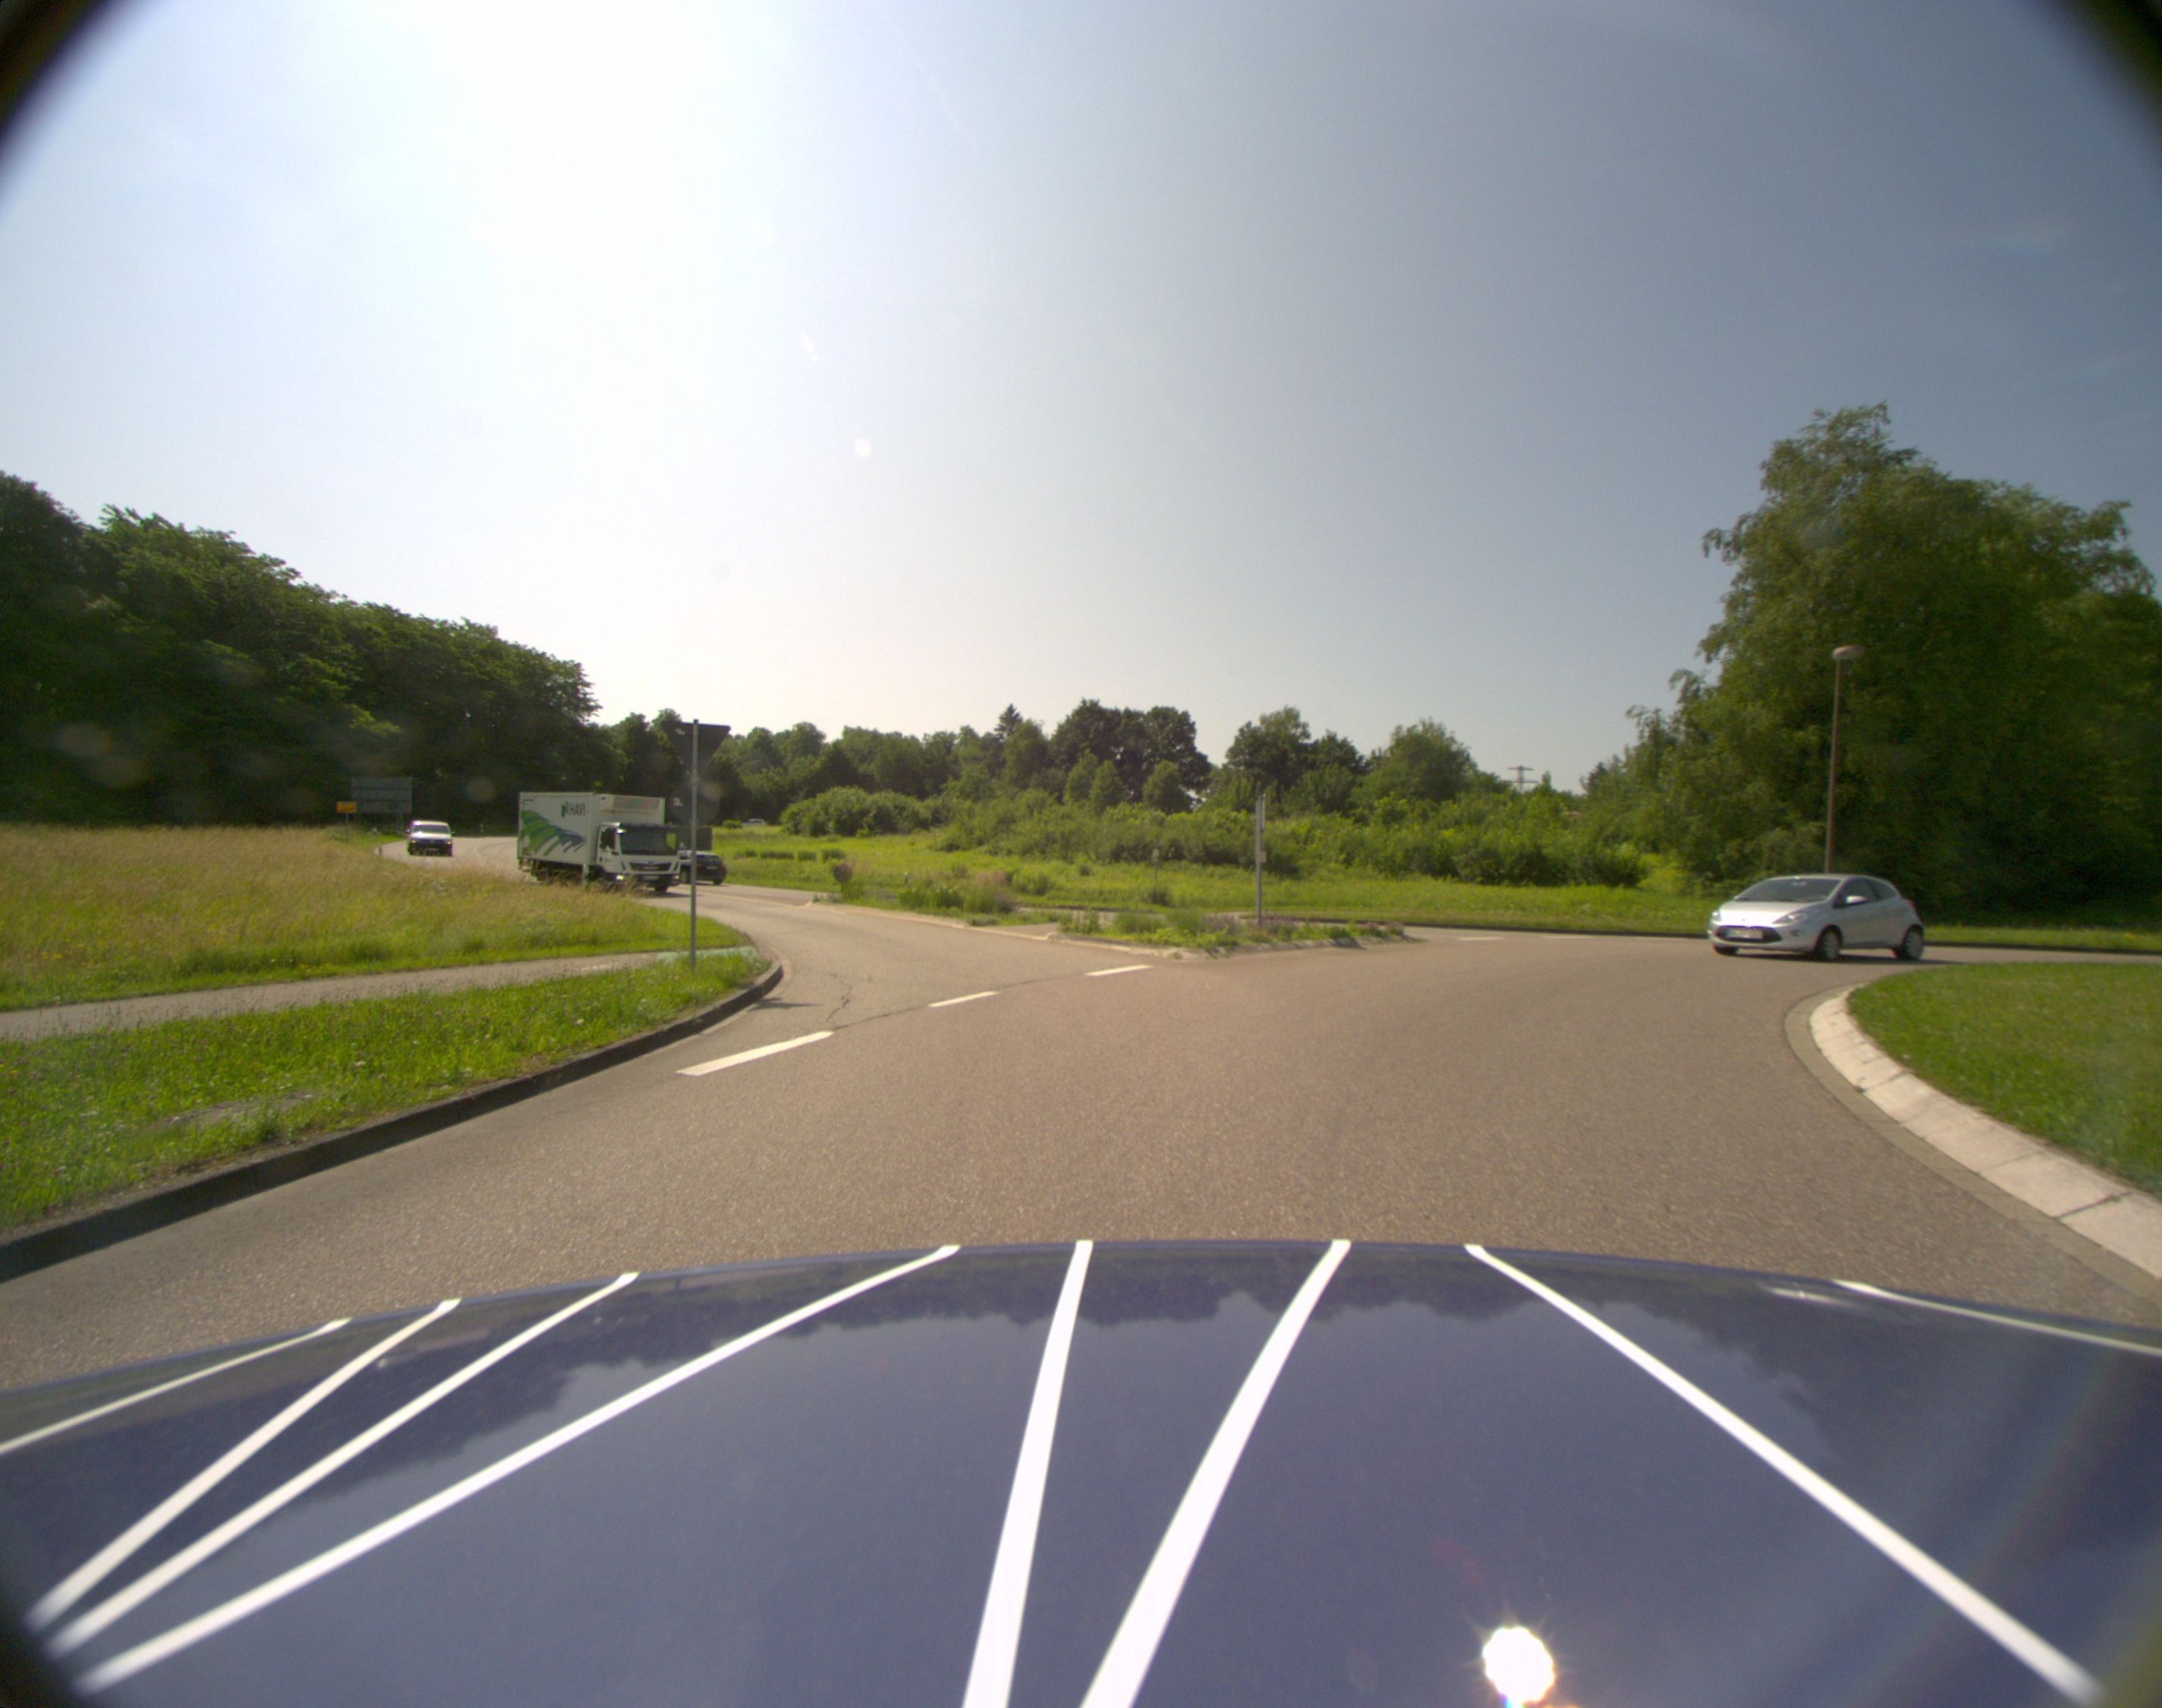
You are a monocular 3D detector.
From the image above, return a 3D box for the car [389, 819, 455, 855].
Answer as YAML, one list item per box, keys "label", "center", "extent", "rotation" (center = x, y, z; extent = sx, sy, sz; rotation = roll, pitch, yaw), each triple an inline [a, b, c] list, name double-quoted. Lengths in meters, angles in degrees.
- label: "car"
  center: [-39.302, -1.022, 45.287]
  extent: [5.585, 2.002, 2.004]
  rotation: [1, 2, 39]

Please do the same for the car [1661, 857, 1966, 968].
- label: "car"
  center: [13.109, 0.938, 13.680]
  extent: [4.202, 1.606, 2.126]
  rotation: [-2, 0, -16]

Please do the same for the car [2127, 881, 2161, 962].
- label: "car"
  center: [25.202, 1.405, 15.593]
  extent: [5.121, 1.643, 2.195]
  rotation: [-1, 1, -8]

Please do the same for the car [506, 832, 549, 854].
- label: "car"
  center: [-43.260, -0.840, 59.487]
  extent: [1.916, 1.586, 4.364]
  rotation: [2, -1, -26]

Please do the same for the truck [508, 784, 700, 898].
- label: "truck"
  center: [-18.407, -0.532, 29.040]
  extent: [8.996, 3.808, 2.906]
  rotation: [1, 2, 35]

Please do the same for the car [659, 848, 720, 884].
- label: "car"
  center: [-18.130, 0.566, 35.077]
  extent: [1.762, 1.520, 4.202]
  rotation: [3, -2, -37]
